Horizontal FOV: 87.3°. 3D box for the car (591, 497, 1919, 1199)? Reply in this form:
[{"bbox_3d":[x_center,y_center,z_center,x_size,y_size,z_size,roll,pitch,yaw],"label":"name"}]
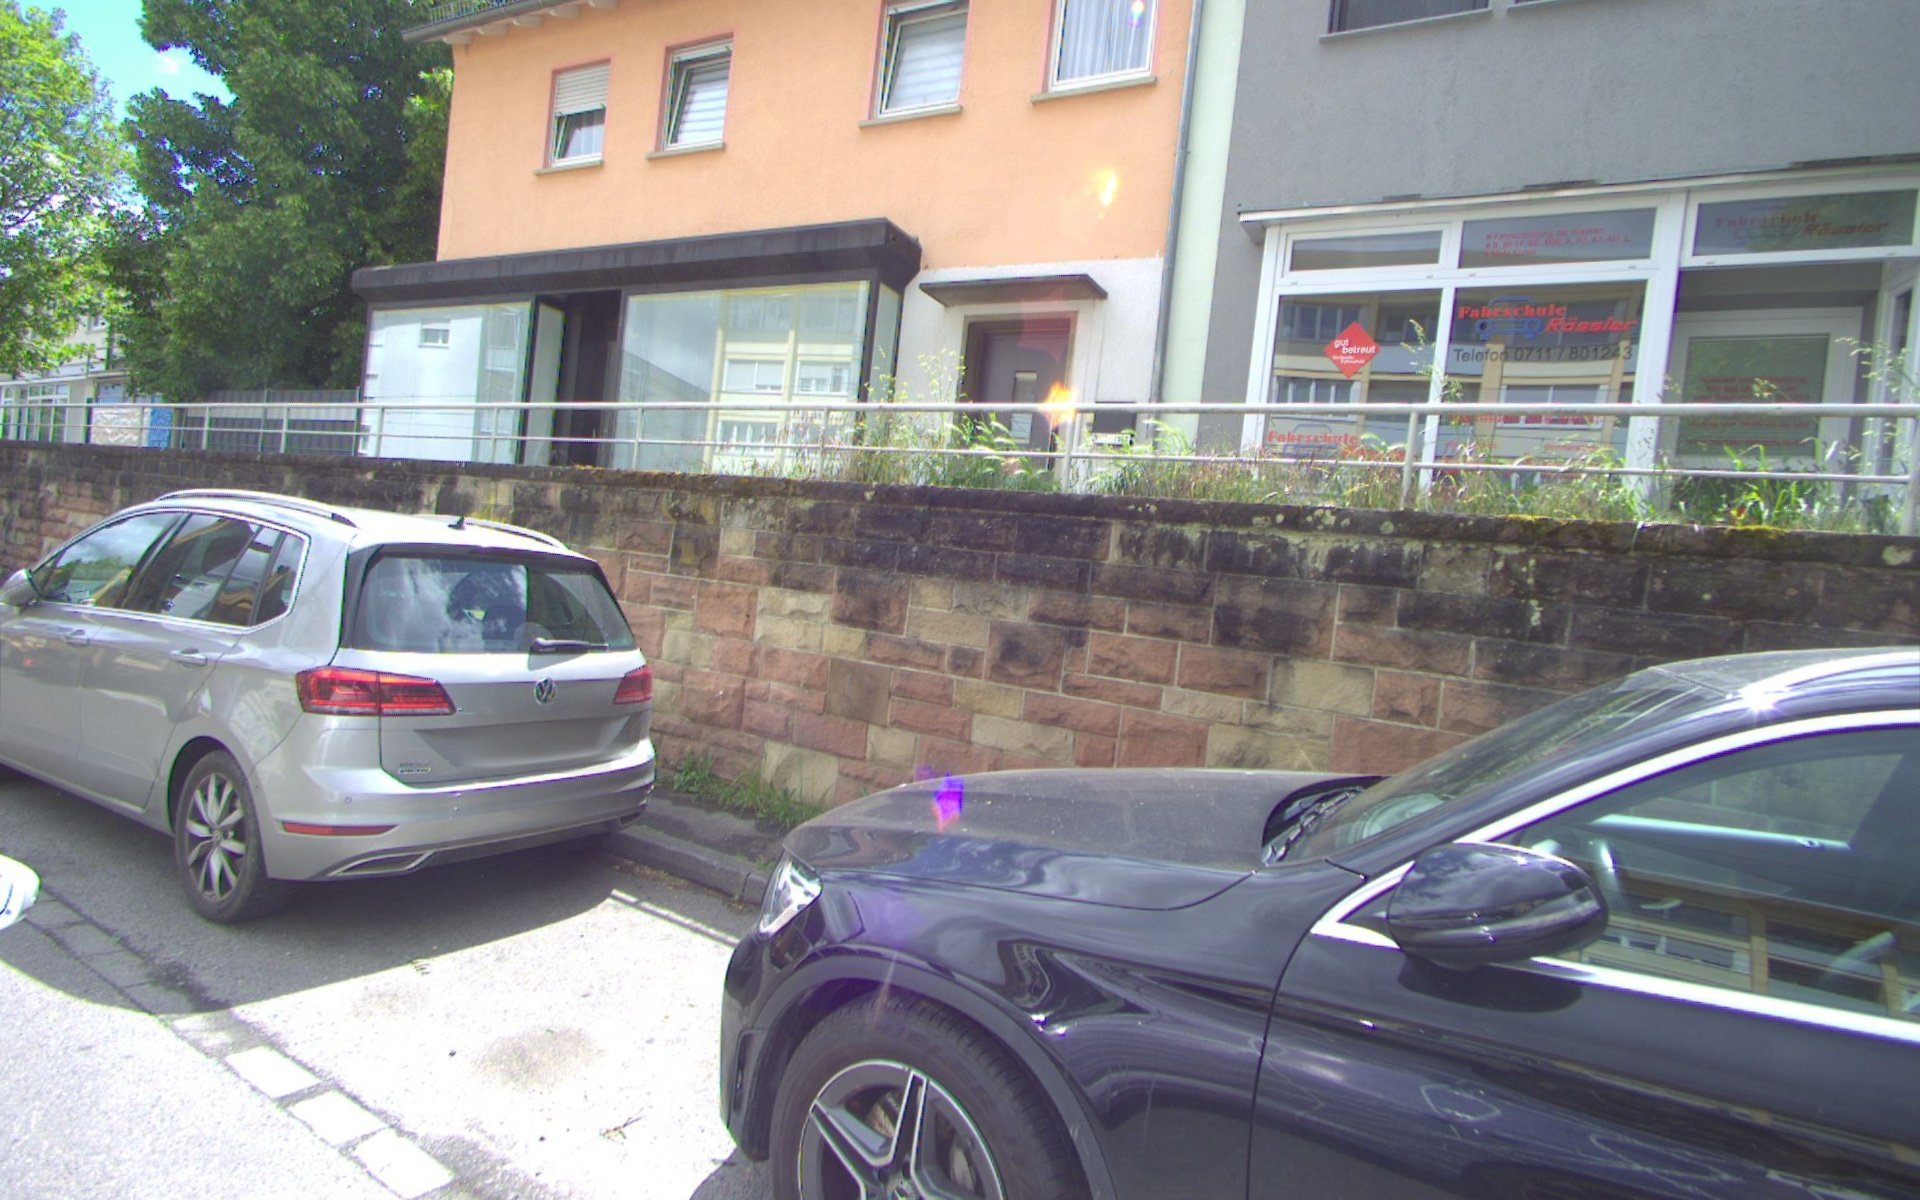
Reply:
[{"bbox_3d":[1.545,0.836,1.911,4.373,1.639,1.791,7,2,31],"label":"car"}]

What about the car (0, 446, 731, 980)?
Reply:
[{"bbox_3d":[-3.379,0.231,5.021,4.177,1.638,1.791,7,1,31],"label":"car"}]
